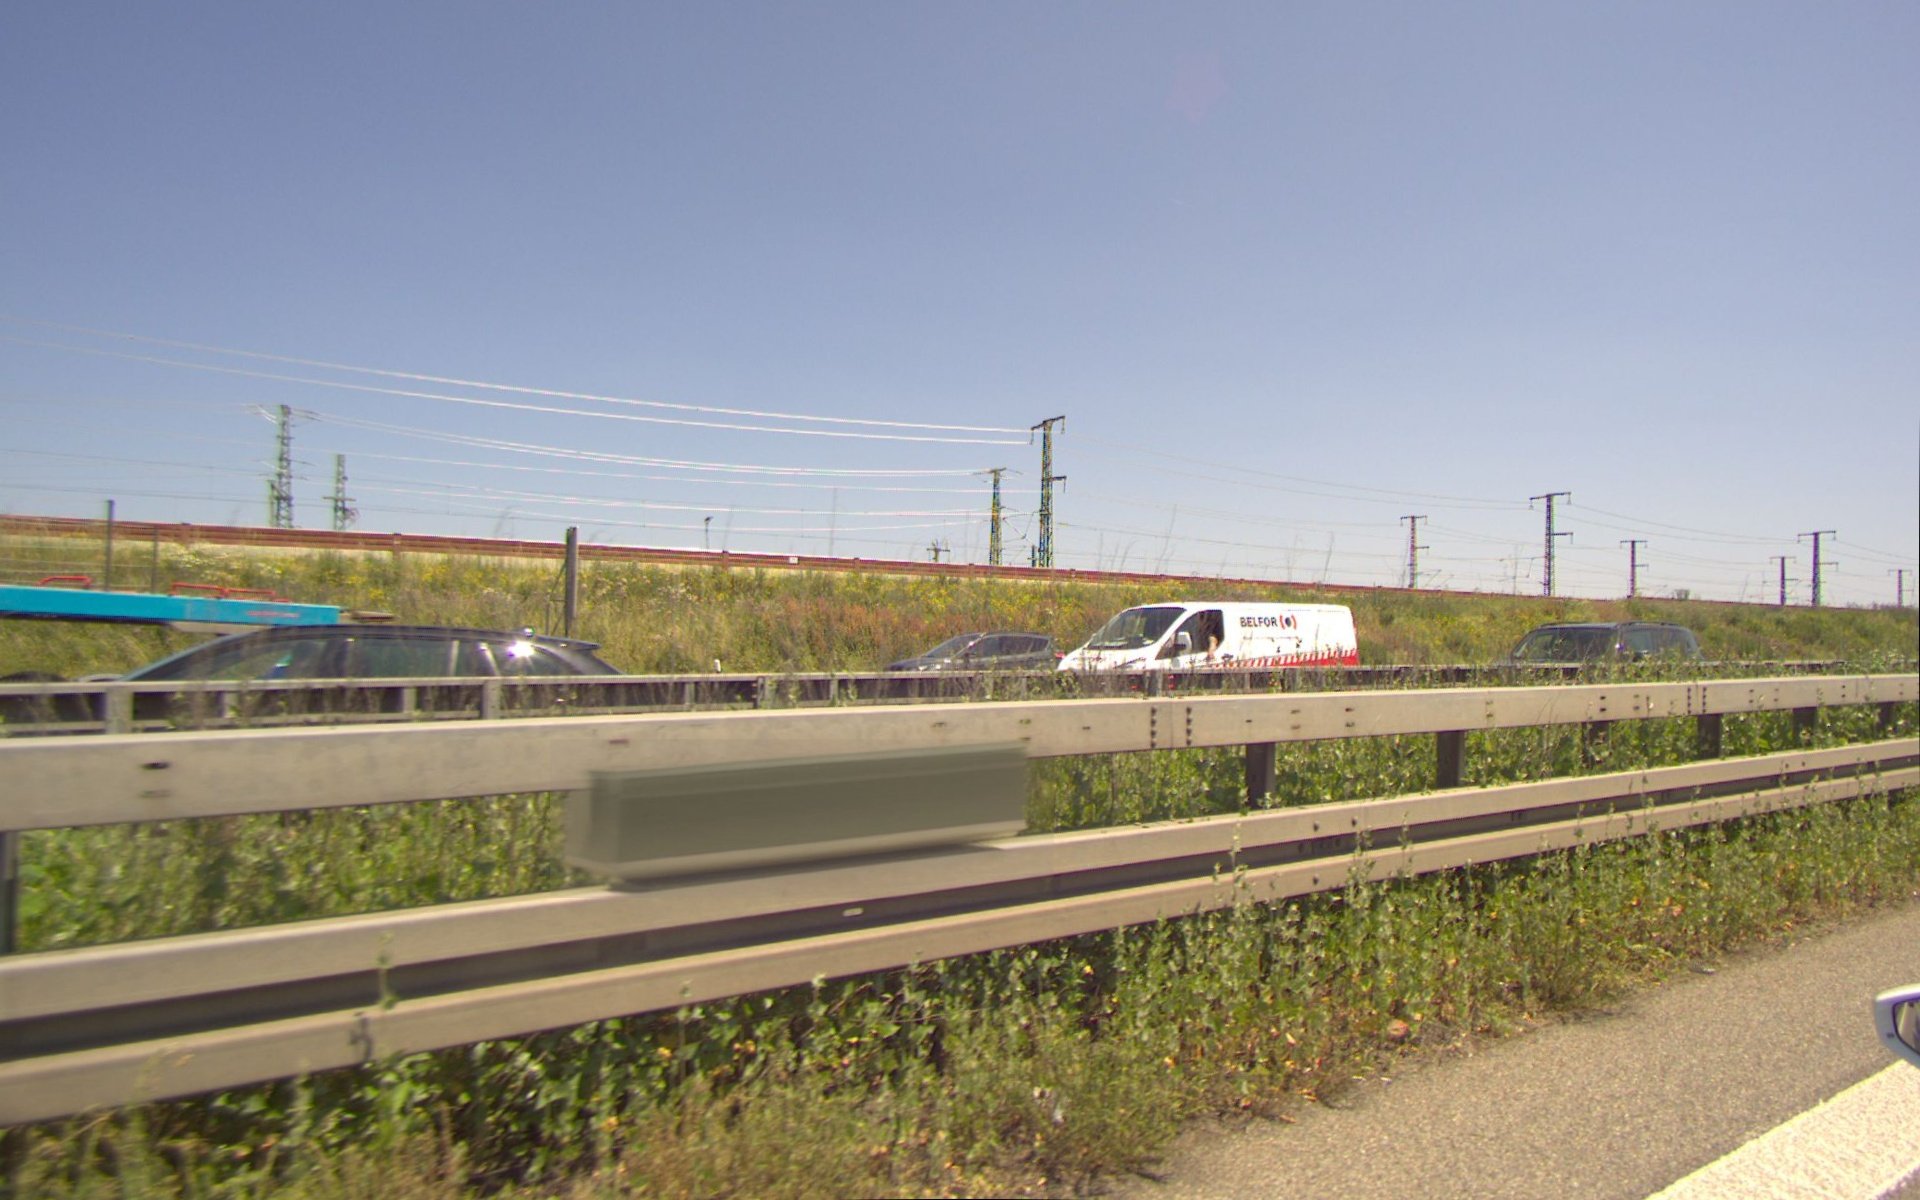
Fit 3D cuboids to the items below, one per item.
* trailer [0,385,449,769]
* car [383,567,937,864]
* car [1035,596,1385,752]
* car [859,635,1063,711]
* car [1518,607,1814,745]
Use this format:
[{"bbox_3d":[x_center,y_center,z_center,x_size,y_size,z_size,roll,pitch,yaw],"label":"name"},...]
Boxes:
[{"bbox_3d":[-13.840,-0.302,9.608,15.791,3.919,3.036,1,-1,-31],"label":"trailer"},{"bbox_3d":[-2.394,0.791,8.204,3.953,1.873,1.984,2,-2,-30],"label":"car"},{"bbox_3d":[3.929,1.032,15.405,5.369,2.040,1.984,2,-1,-31],"label":"car"},{"bbox_3d":[0.045,1.575,22.460,4.190,1.535,1.907,2,-2,-31],"label":"car"},{"bbox_3d":[11.043,1.142,15.650,4.607,1.820,1.984,3,0,-30],"label":"car"}]
